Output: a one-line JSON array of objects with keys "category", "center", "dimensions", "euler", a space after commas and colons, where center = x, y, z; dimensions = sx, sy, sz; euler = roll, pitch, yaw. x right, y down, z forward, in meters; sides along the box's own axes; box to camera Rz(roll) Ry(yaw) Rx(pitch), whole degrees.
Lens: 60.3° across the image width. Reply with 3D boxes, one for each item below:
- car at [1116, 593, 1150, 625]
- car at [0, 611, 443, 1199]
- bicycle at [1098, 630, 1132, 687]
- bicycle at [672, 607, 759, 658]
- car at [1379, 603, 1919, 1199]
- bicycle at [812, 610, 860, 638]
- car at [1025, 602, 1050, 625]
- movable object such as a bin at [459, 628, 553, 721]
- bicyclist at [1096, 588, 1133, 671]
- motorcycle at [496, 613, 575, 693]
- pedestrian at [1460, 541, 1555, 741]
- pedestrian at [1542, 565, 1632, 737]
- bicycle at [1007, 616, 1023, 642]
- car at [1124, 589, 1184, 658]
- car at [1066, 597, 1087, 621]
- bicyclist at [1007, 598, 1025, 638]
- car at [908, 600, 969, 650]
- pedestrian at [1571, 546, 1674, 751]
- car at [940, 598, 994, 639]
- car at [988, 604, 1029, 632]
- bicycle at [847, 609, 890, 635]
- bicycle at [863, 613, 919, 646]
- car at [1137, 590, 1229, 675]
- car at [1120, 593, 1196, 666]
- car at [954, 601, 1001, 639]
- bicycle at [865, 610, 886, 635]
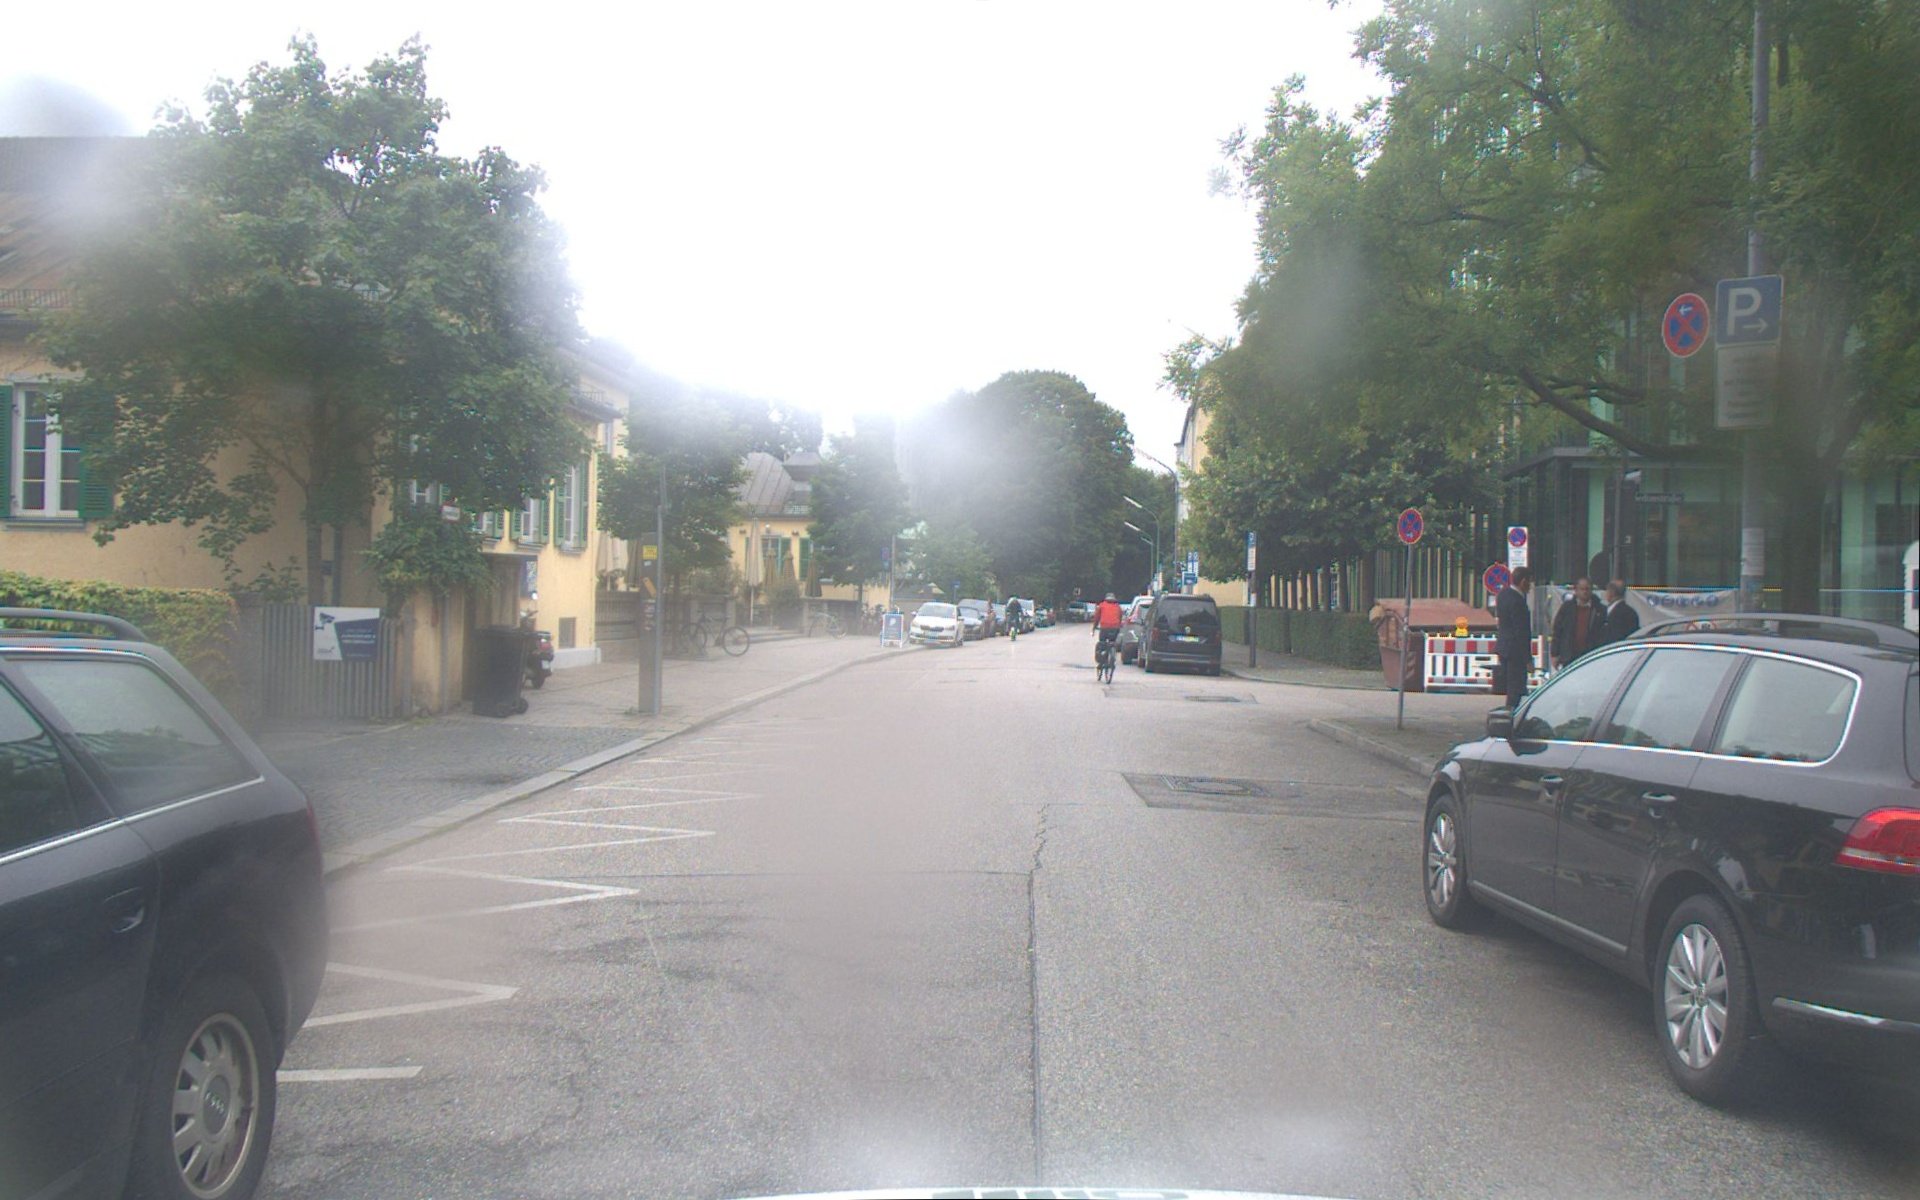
[{"category": "car", "center": [11.822, 0.591, 113.176], "dimensions": [1.952, 2.096, 4.625], "euler": [1, 0, 2]}, {"category": "car", "center": [-2.667, 0.792, 2.618], "dimensions": [1.952, 1.517, 4.885], "euler": [-1, 0, 3]}, {"category": "bicycle", "center": [2.888, 1.079, 30.973], "dimensions": [0.608, 1.022, 2.141], "euler": [1, -2, 5]}, {"category": "bicycle", "center": [-5.807, 0.767, 39.288], "dimensions": [1.890, 1.118, 0.615], "euler": [3, 0, 5]}, {"category": "car", "center": [3.233, 0.834, 6.610], "dimensions": [1.735, 1.516, 4.973], "euler": [3, 0, -1]}, {"category": "bicycle", "center": [-4.378, 0.844, 58.406], "dimensions": [1.591, 0.942, 0.647], "euler": [1, -2, -23]}, {"category": "car", "center": [5.888, 1.000, 125.239], "dimensions": [1.772, 1.712, 4.002], "euler": [1, 0, 4]}, {"category": "movable object such as a bin", "center": [-5.570, 0.909, 20.343], "dimensions": [0.916, 1.082, 0.840], "euler": [1, 0, -1]}, {"category": "bicyclist", "center": [2.896, 0.555, 31.005], "dimensions": [0.657, 1.524, 1.095], "euler": [1, -2, 5]}, {"category": "motorcycle", "center": [-6.523, 0.799, 25.379], "dimensions": [0.552, 1.120, 1.816], "euler": [3, 0, -34]}, {"category": "pedestrian", "center": [6.116, 0.447, 18.516], "dimensions": [0.727, 2.172, 1.056], "euler": [0, 0, 1]}, {"category": "pedestrian", "center": [7.320, 0.578, 19.287], "dimensions": [0.730, 1.941, 1.051], "euler": [0, -1, 37]}, {"category": "bicycle", "center": [2.278, 1.189, 68.149], "dimensions": [0.609, 1.022, 2.140], "euler": [1, 0, 1]}, {"category": "car", "center": [5.881, 0.676, 50.421], "dimensions": [1.712, 1.977, 4.230], "euler": [1, 0, 5]}, {"category": "car", "center": [11.483, 0.872, 162.780], "dimensions": [1.952, 2.135, 4.002], "euler": [4, 0, 4]}, {"category": "bicyclist", "center": [2.314, 0.732, 68.229], "dimensions": [0.727, 1.603, 0.977], "euler": [1, 0, 2]}, {"category": "car", "center": [-0.717, 0.858, 58.538], "dimensions": [1.697, 1.608, 3.790], "euler": [4, 0, 5]}, {"category": "pedestrian", "center": [7.211, 0.515, 18.043], "dimensions": [0.727, 2.172, 1.056], "euler": [0, 0, 1]}, {"category": "car", "center": [0.342, 0.778, 71.103], "dimensions": [1.951, 1.677, 4.658], "euler": [1, 0, 5]}, {"category": "car", "center": [2.781, 0.997, 93.973], "dimensions": [1.951, 1.512, 4.003], "euler": [1, 0, 6]}, {"category": "bicycle", "center": [-3.592, 0.872, 65.011], "dimensions": [1.597, 1.022, 0.617], "euler": [2, -2, -31]}, {"category": "bicycle", "center": [-2.255, 0.981, 54.072], "dimensions": [0.611, 1.021, 2.132], "euler": [4, 0, 35]}, {"category": "car", "center": [5.248, 0.738, 39.402], "dimensions": [1.724, 1.855, 4.140], "euler": [2, 0, 2]}, {"category": "car", "center": [5.249, 0.742, 44.231], "dimensions": [1.824, 1.825, 4.512], "euler": [1, 0, 5]}, {"category": "car", "center": [0.825, 0.939, 76.429], "dimensions": [1.952, 1.631, 4.001], "euler": [1, -1, 3]}, {"category": "bicycle", "center": [-3.586, 0.957, 70.366], "dimensions": [0.608, 1.022, 1.620], "euler": [1, -1, 8]}]
